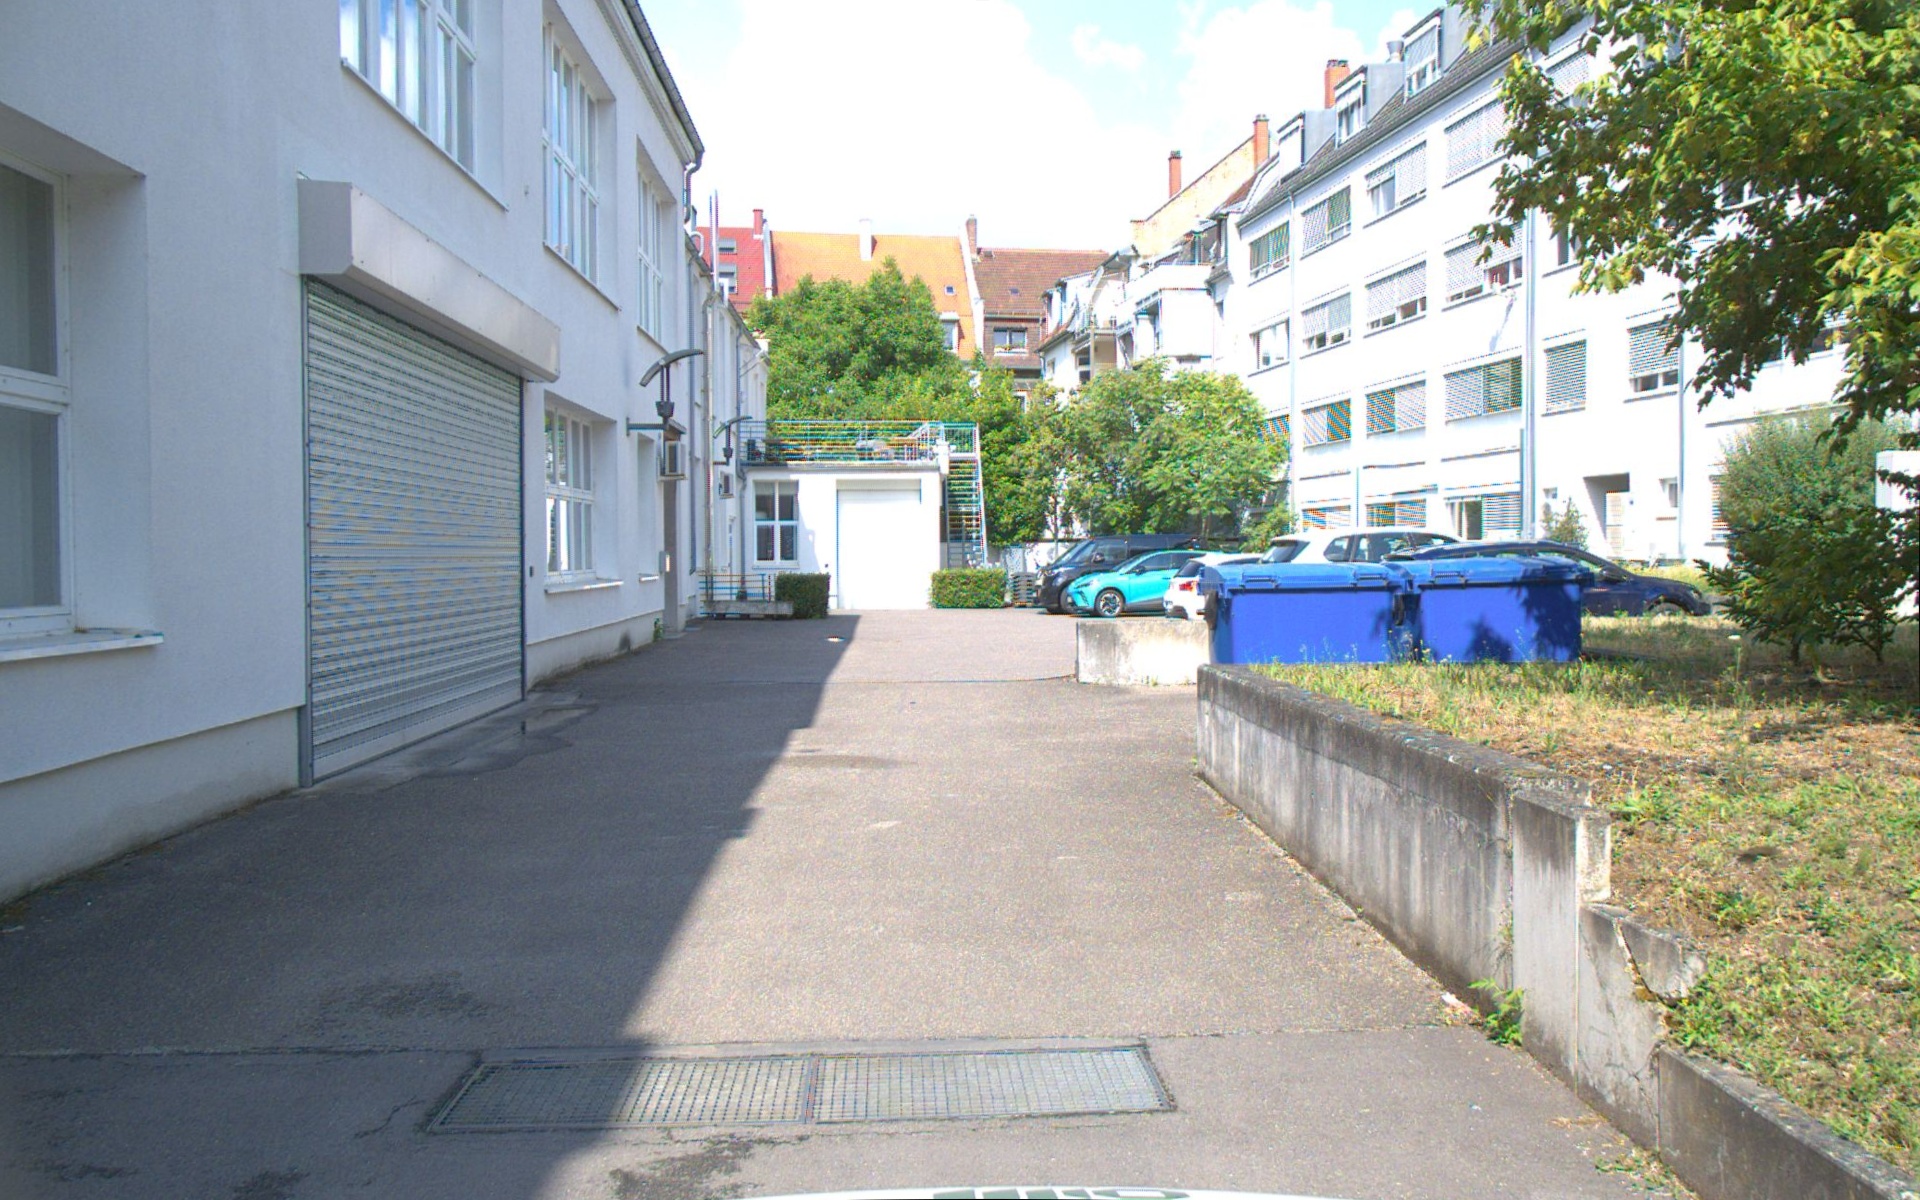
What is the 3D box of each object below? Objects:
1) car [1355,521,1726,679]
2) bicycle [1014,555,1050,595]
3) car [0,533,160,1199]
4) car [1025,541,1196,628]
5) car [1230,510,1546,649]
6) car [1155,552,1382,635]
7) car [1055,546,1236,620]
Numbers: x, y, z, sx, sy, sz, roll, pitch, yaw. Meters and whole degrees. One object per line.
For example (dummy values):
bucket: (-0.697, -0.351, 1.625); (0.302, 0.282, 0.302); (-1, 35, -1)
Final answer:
car: (7.286, 0.026, 20.935); (4.036, 1.634, 1.752); (4, -2, -8)
bicycle: (2.216, -0.768, 51.087); (0.629, 1.137, 1.853); (4, -2, -11)
car: (-2.228, 0.478, 0.576); (1.842, 1.467, 4.337); (3, -4, -3)
car: (3.743, -0.363, 41.351); (3.913, 1.849, 1.660); (4, -2, -8)
car: (6.077, -0.259, 23.729); (3.912, 1.776, 1.946); (2, -1, -8)
car: (5.814, -0.118, 31.346); (3.912, 1.470, 1.626); (1, 0, -8)
car: (4.300, -0.392, 38.608); (3.912, 1.601, 1.626); (1, 0, -8)
